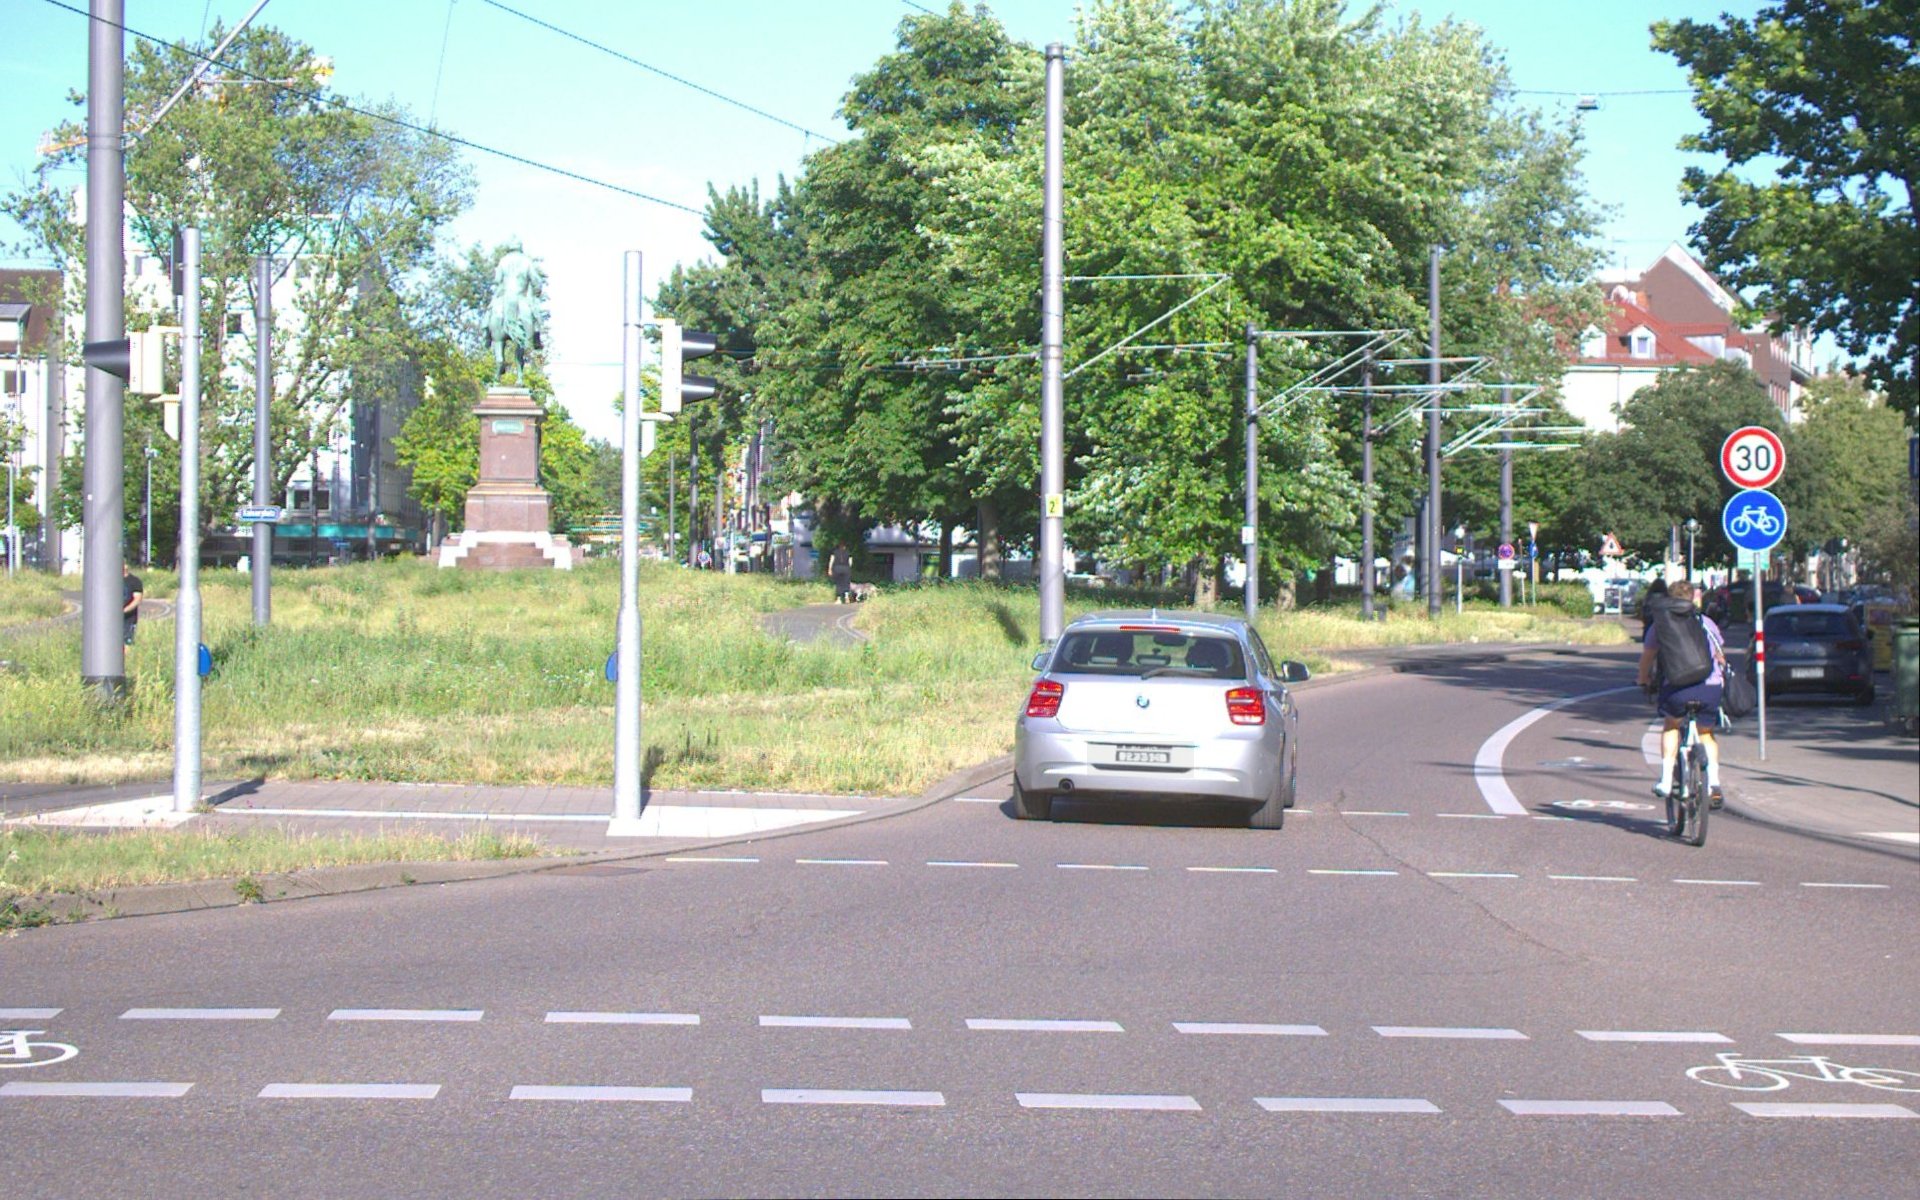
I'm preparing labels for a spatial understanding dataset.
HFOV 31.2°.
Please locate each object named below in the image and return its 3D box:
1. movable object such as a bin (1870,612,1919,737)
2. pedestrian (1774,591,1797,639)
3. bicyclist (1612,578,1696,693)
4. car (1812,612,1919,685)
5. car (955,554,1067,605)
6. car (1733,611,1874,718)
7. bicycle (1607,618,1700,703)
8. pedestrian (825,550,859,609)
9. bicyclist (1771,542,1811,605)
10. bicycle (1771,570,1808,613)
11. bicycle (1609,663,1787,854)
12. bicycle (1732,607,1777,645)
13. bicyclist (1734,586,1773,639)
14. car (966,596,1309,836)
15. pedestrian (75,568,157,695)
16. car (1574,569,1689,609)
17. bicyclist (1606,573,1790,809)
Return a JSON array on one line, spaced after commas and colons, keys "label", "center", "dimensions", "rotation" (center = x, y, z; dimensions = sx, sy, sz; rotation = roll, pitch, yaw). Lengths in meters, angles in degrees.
[{"label": "movable object such as a bin", "center": [11.118, 0.868, 39.324], "dimensions": [1.281, 1.387, 0.921], "rotation": [3, 0, 13]}, {"label": "pedestrian", "center": [29.284, 0.523, 121.944], "dimensions": [0.636, 1.666, 0.692], "rotation": [2, -1, 20]}, {"label": "bicyclist", "center": [10.132, 0.522, 50.186], "dimensions": [0.940, 1.628, 0.934], "rotation": [2, 0, 26]}, {"label": "car", "center": [18.580, 0.997, 69.819], "dimensions": [1.853, 1.339, 4.594], "rotation": [3, 0, 21]}, {"label": "car", "center": [2.537, -1.023, 172.157], "dimensions": [5.335, 2.306, 2.000], "rotation": [3, 0, -4]}, {"label": "car", "center": [12.357, 0.904, 50.203], "dimensions": [1.767, 1.433, 4.579], "rotation": [0, 0, 17]}, {"label": "bicycle", "center": [10.132, 0.890, 50.201], "dimensions": [0.821, 1.181, 1.961], "rotation": [2, 0, 26]}, {"label": "pedestrian", "center": [-3.242, -0.565, 94.615], "dimensions": [0.673, 1.610, 0.555], "rotation": [3, 0, -33]}, {"label": "bicyclist", "center": [19.713, -0.624, 81.553], "dimensions": [0.787, 1.448, 1.094], "rotation": [2, 0, 17]}, {"label": "bicycle", "center": [19.710, -0.197, 81.644], "dimensions": [0.653, 0.955, 2.695], "rotation": [2, 0, 17]}, {"label": "bicycle", "center": [4.824, 1.009, 22.616], "dimensions": [0.886, 1.132, 2.228], "rotation": [3, 0, 7]}, {"label": "bicycle", "center": [23.215, 0.755, 100.520], "dimensions": [0.810, 1.065, 2.583], "rotation": [3, 0, 3]}, {"label": "bicyclist", "center": [23.220, 0.356, 100.592], "dimensions": [0.929, 1.502, 0.825], "rotation": [3, 0, 3]}, {"label": "car", "center": [1.328, 0.747, 23.794], "dimensions": [1.994, 1.418, 4.195], "rotation": [3, 0, 7]}, {"label": "pedestrian", "center": [-11.235, 0.412, 45.775], "dimensions": [0.734, 1.665, 0.744], "rotation": [1, 0, 20]}, {"label": "car", "center": [34.234, -0.551, 175.288], "dimensions": [5.262, 1.794, 2.164], "rotation": [3, 0, -7]}, {"label": "bicyclist", "center": [4.854, 0.590, 22.678], "dimensions": [1.038, 1.479, 0.988], "rotation": [3, 0, 7]}]
